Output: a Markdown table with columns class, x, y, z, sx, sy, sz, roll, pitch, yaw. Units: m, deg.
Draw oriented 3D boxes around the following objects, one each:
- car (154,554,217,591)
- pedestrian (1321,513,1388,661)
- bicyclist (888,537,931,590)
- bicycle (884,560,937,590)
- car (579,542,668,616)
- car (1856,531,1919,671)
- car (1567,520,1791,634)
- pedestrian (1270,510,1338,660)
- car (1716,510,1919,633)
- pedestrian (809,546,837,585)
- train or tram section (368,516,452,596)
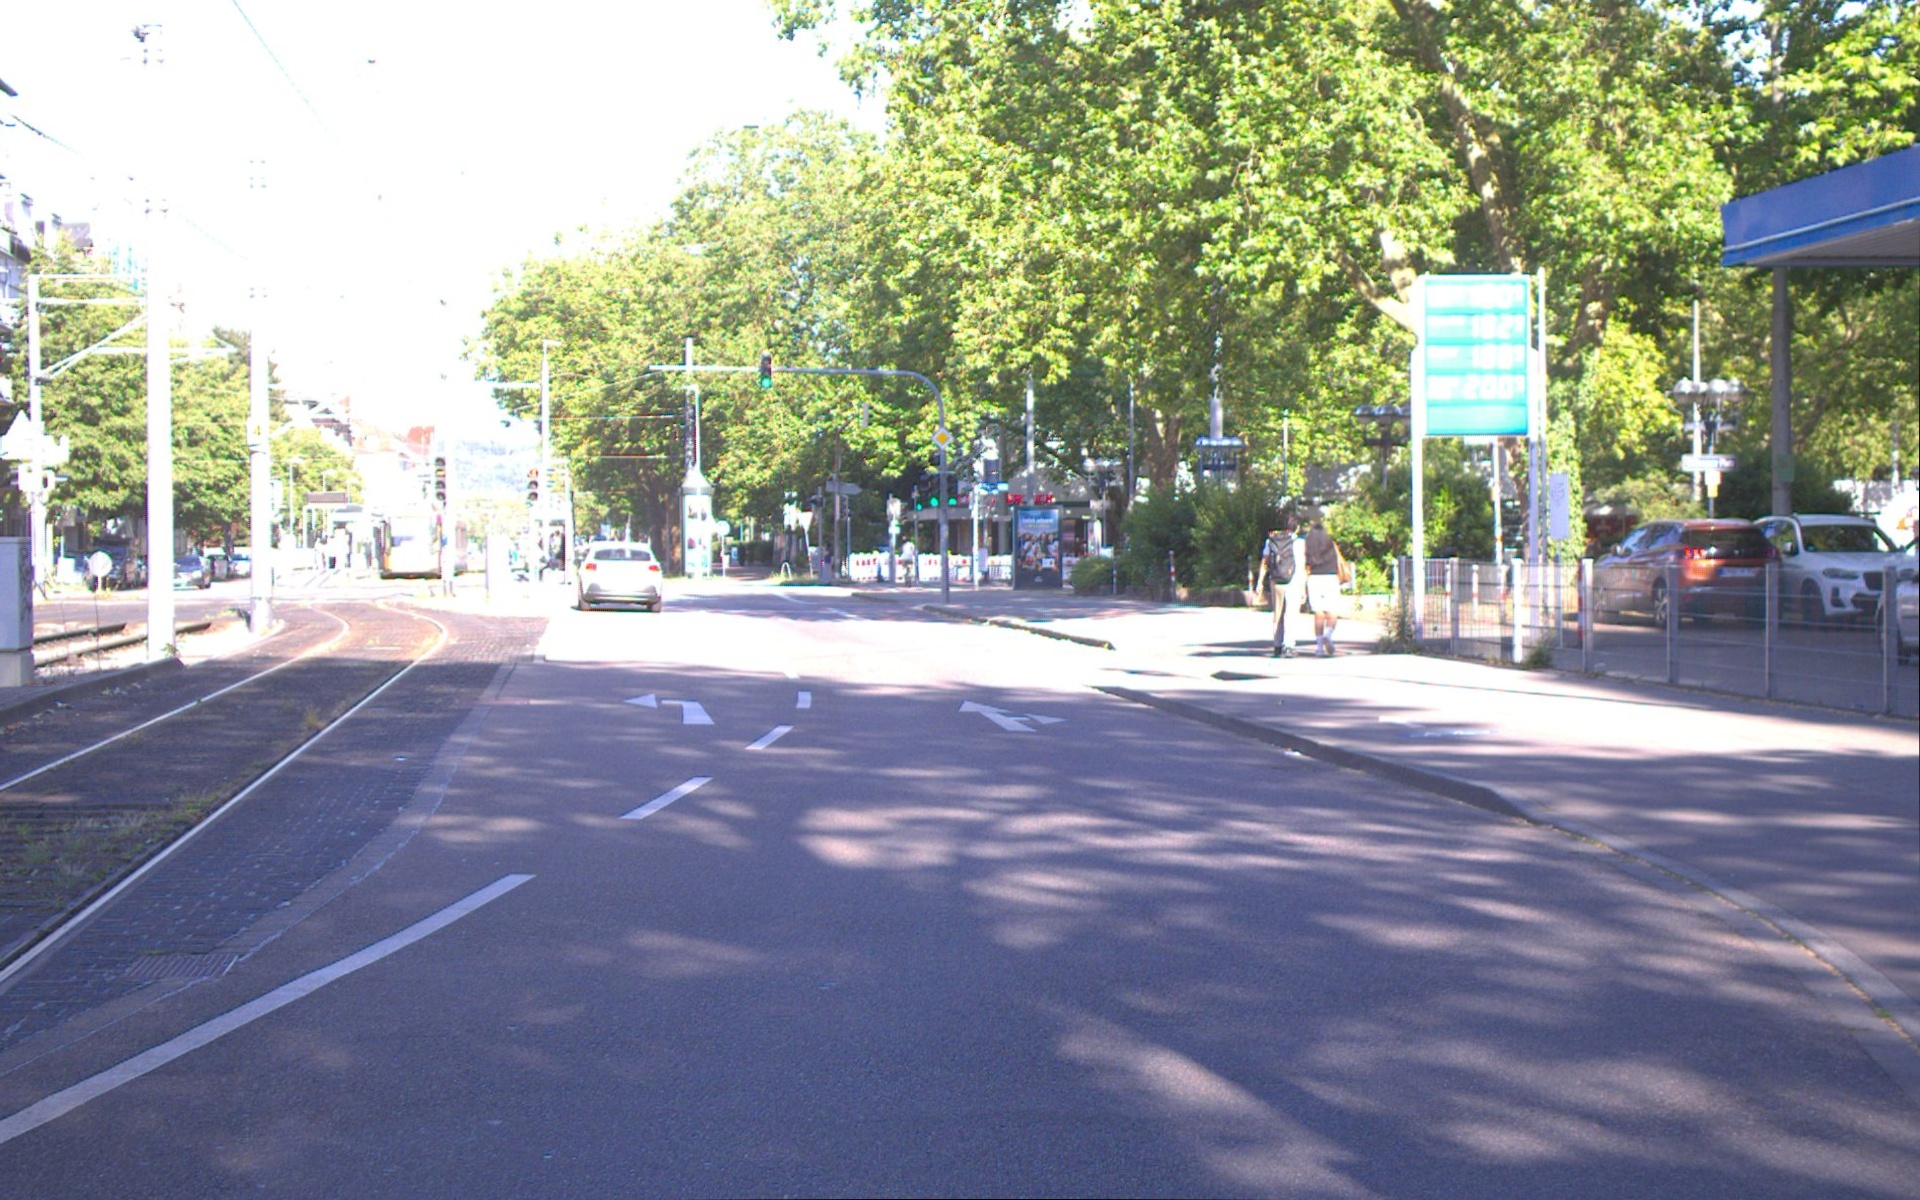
| class | x | y | z | sx | sy | sz | roll | pitch | yaw |
| --- | --- | --- | --- | --- | --- | --- | --- | --- | --- |
| car | -32.866 | -1.184 | 145.926 | 1.993 | 1.444 | 4.841 | -1 | 1 | -6 |
| pedestrian | 4.831 | -0.163 | 42.118 | 0.603 | 1.770 | 0.690 | -4 | 1 | -2 |
| bicyclist | -1.645 | -1.206 | 112.727 | 1.198 | 1.691 | 0.904 | 2 | 1 | -12 |
| bicycle | -1.646 | -0.828 | 112.684 | 1.198 | 0.931 | 2.575 | 2 | 1 | -13 |
| car | -7.151 | -0.457 | 72.852 | 1.745 | 1.457 | 3.645 | 2 | 1 | -7 |
| car | 10.599 | 0.005 | 34.815 | 1.567 | 1.425 | 4.099 | -1 | 1 | -7 |
| car | 10.908 | -0.386 | 52.487 | 1.817 | 1.596 | 4.664 | -1 | 2 | -9 |
| pedestrian | 4.194 | -0.188 | 41.989 | 0.603 | 1.770 | 0.879 | -4 | 1 | -2 |
| car | 13.109 | -0.475 | 51.953 | 1.859 | 1.729 | 4.800 | -1 | 2 | -6 |
| pedestrian | -4.886 | -1.230 | 122.547 | 0.660 | 1.383 | 0.831 | 2 | 1 | 26 |
| train or tram section | -24.770 | -2.027 | 155.222 | 2.952 | 3.398 | 10.793 | 2 | 1 | -6 |
